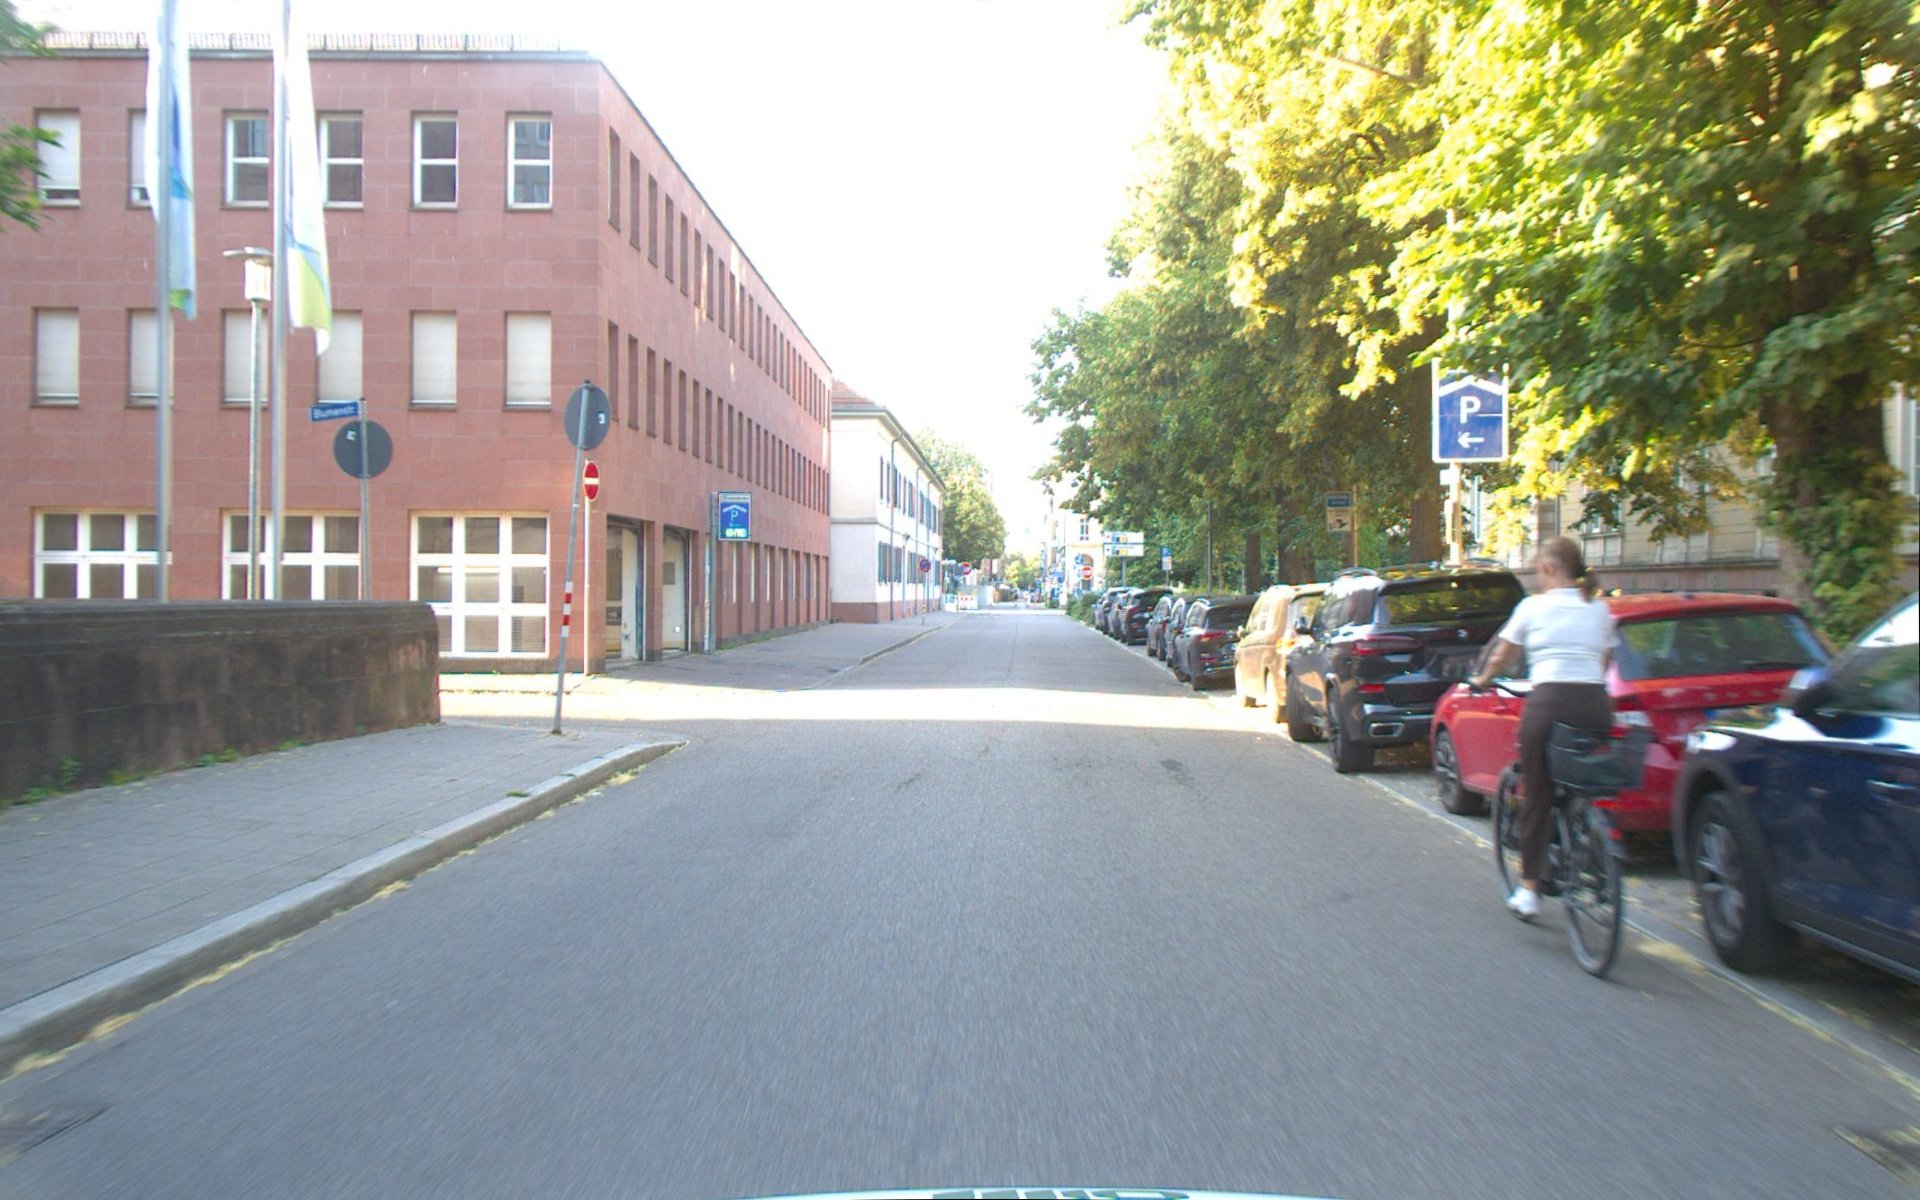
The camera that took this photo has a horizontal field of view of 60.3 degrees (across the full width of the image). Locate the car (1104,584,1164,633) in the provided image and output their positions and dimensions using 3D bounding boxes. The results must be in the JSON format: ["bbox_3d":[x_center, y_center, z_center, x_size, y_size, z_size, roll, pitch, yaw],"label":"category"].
[{"bbox_3d":[5.776,0.309,55.384,1.688,1.565,4.190,0,-1,2],"label":"car"}]

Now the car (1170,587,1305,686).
[{"bbox_3d":[4.688,0.598,28.520,1.688,1.560,4.624,0,-1,2],"label":"car"}]

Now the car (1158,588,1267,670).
[{"bbox_3d":[5.069,0.569,33.709,1.688,1.560,4.190,0,-1,2],"label":"car"}]

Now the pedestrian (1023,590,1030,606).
[{"bbox_3d":[6.800,-0.246,168.969,0.644,1.645,0.745,0,0,2],"label":"pedestrian"}]

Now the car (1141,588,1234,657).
[{"bbox_3d":[5.324,0.519,39.222,1.699,1.533,4.523,0,-1,2],"label":"car"}]

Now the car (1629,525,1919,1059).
[{"bbox_3d":[4.010,0.614,5.456,1.842,1.717,4.696,0,-1,2],"label":"car"}]

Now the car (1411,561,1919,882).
[{"bbox_3d":[4.225,0.635,10.380,1.688,1.616,3.969,0,-1,0],"label":"car"}]

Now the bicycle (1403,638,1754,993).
[{"bbox_3d":[2.662,0.849,7.428,0.736,1.274,2.210,0,0,0],"label":"bicycle"}]

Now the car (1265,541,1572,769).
[{"bbox_3d":[4.189,0.471,15.953,1.767,1.845,4.949,0,-1,3],"label":"car"}]

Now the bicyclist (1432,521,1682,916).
[{"bbox_3d":[2.636,0.489,7.414,0.736,1.641,1.038,0,0,0],"label":"bicyclist"}]

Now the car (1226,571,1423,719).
[{"bbox_3d":[4.603,0.544,21.507,1.688,1.712,4.500,0,-1,2],"label":"car"}]

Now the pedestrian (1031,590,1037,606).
[{"bbox_3d":[7.570,-0.223,168.920,0.644,1.645,0.745,0,0,2],"label":"pedestrian"}]

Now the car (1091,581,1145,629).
[{"bbox_3d":[5.815,0.207,61.327,1.688,1.680,4.714,0,-1,2],"label":"car"}]

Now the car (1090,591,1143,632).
[{"bbox_3d":[6.346,0.460,67.457,1.688,1.514,4.611,-4,0,1],"label":"car"}]

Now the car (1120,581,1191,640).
[{"bbox_3d":[5.905,0.330,50.348,1.769,1.680,4.419,0,-1,2],"label":"car"}]
